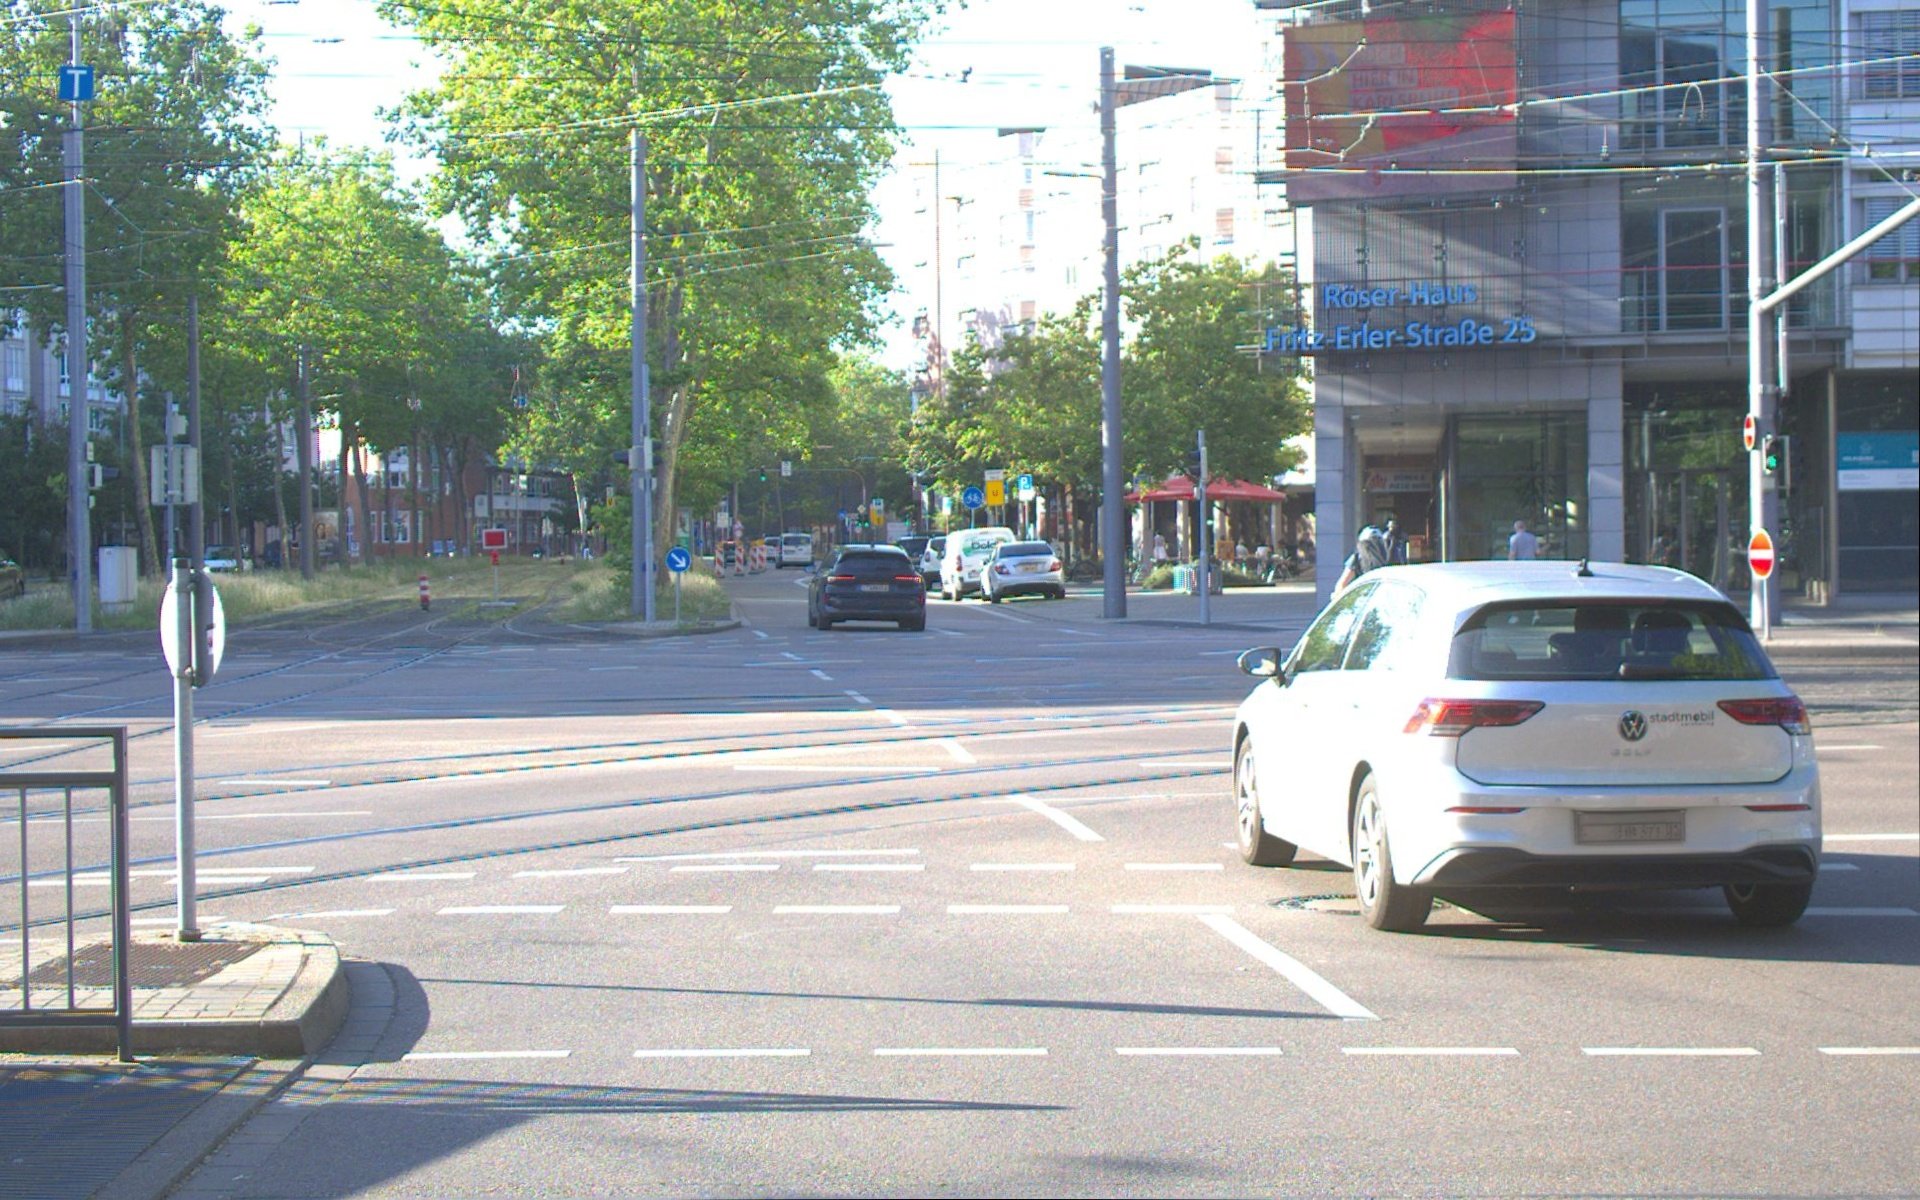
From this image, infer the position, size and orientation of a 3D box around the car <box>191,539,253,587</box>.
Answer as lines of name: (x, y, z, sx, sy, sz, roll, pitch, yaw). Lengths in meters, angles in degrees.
car: (-25.347, -1.282, 118.203, 1.676, 1.601, 4.001, 1, 1, -6)

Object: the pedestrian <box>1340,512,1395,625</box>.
pedestrian: (7.312, -0.559, 61.710, 0.849, 2.007, 0.708, 1, 0, -1)

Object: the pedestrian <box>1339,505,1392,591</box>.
pedestrian: (10.427, -1.336, 88.398, 1.313, 2.182, 1.170, 1, 0, 6)

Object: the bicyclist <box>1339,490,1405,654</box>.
bicyclist: (3.655, -0.253, 30.535, 0.486, 1.434, 0.615, 1, 1, -1)

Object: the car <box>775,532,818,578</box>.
car: (-8.448, -2.333, 178.063, 1.993, 2.007, 3.999, 1, -4, 1)

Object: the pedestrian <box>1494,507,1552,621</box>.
pedestrian: (10.018, -0.647, 61.227, 0.869, 2.007, 0.794, 1, 0, -1)

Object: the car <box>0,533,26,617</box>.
car: (-21.595, -0.549, 74.891, 1.822, 1.784, 4.001, -1, 1, -7)

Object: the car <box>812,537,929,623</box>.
car: (-1.540, -0.358, 57.870, 1.763, 1.399, 4.297, 0, 1, -4)

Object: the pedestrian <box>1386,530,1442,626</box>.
pedestrian: (8.160, -0.404, 61.800, 0.869, 1.702, 0.794, 1, 0, -1)

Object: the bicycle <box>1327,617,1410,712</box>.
bicycle: (3.644, 0.566, 30.755, 0.490, 0.785, 1.862, 0, 1, -1)

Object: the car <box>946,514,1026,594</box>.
car: (0.649, -1.202, 89.626, 1.993, 2.007, 4.000, 1, 1, -1)

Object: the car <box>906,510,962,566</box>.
car: (-0.957, -2.287, 126.877, 1.993, 2.007, 4.000, 1, 1, -1)

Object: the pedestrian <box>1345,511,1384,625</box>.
pedestrian: (7.234, -0.571, 61.486, 0.586, 2.007, 0.620, 1, 0, 0)

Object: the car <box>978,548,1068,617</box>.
car: (1.493, -0.435, 82.807, 2.029, 1.590, 4.000, 1, 1, -1)

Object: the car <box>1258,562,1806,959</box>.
car: (2.277, 0.568, 14.650, 1.748, 1.413, 4.000, 0, 1, 1)
